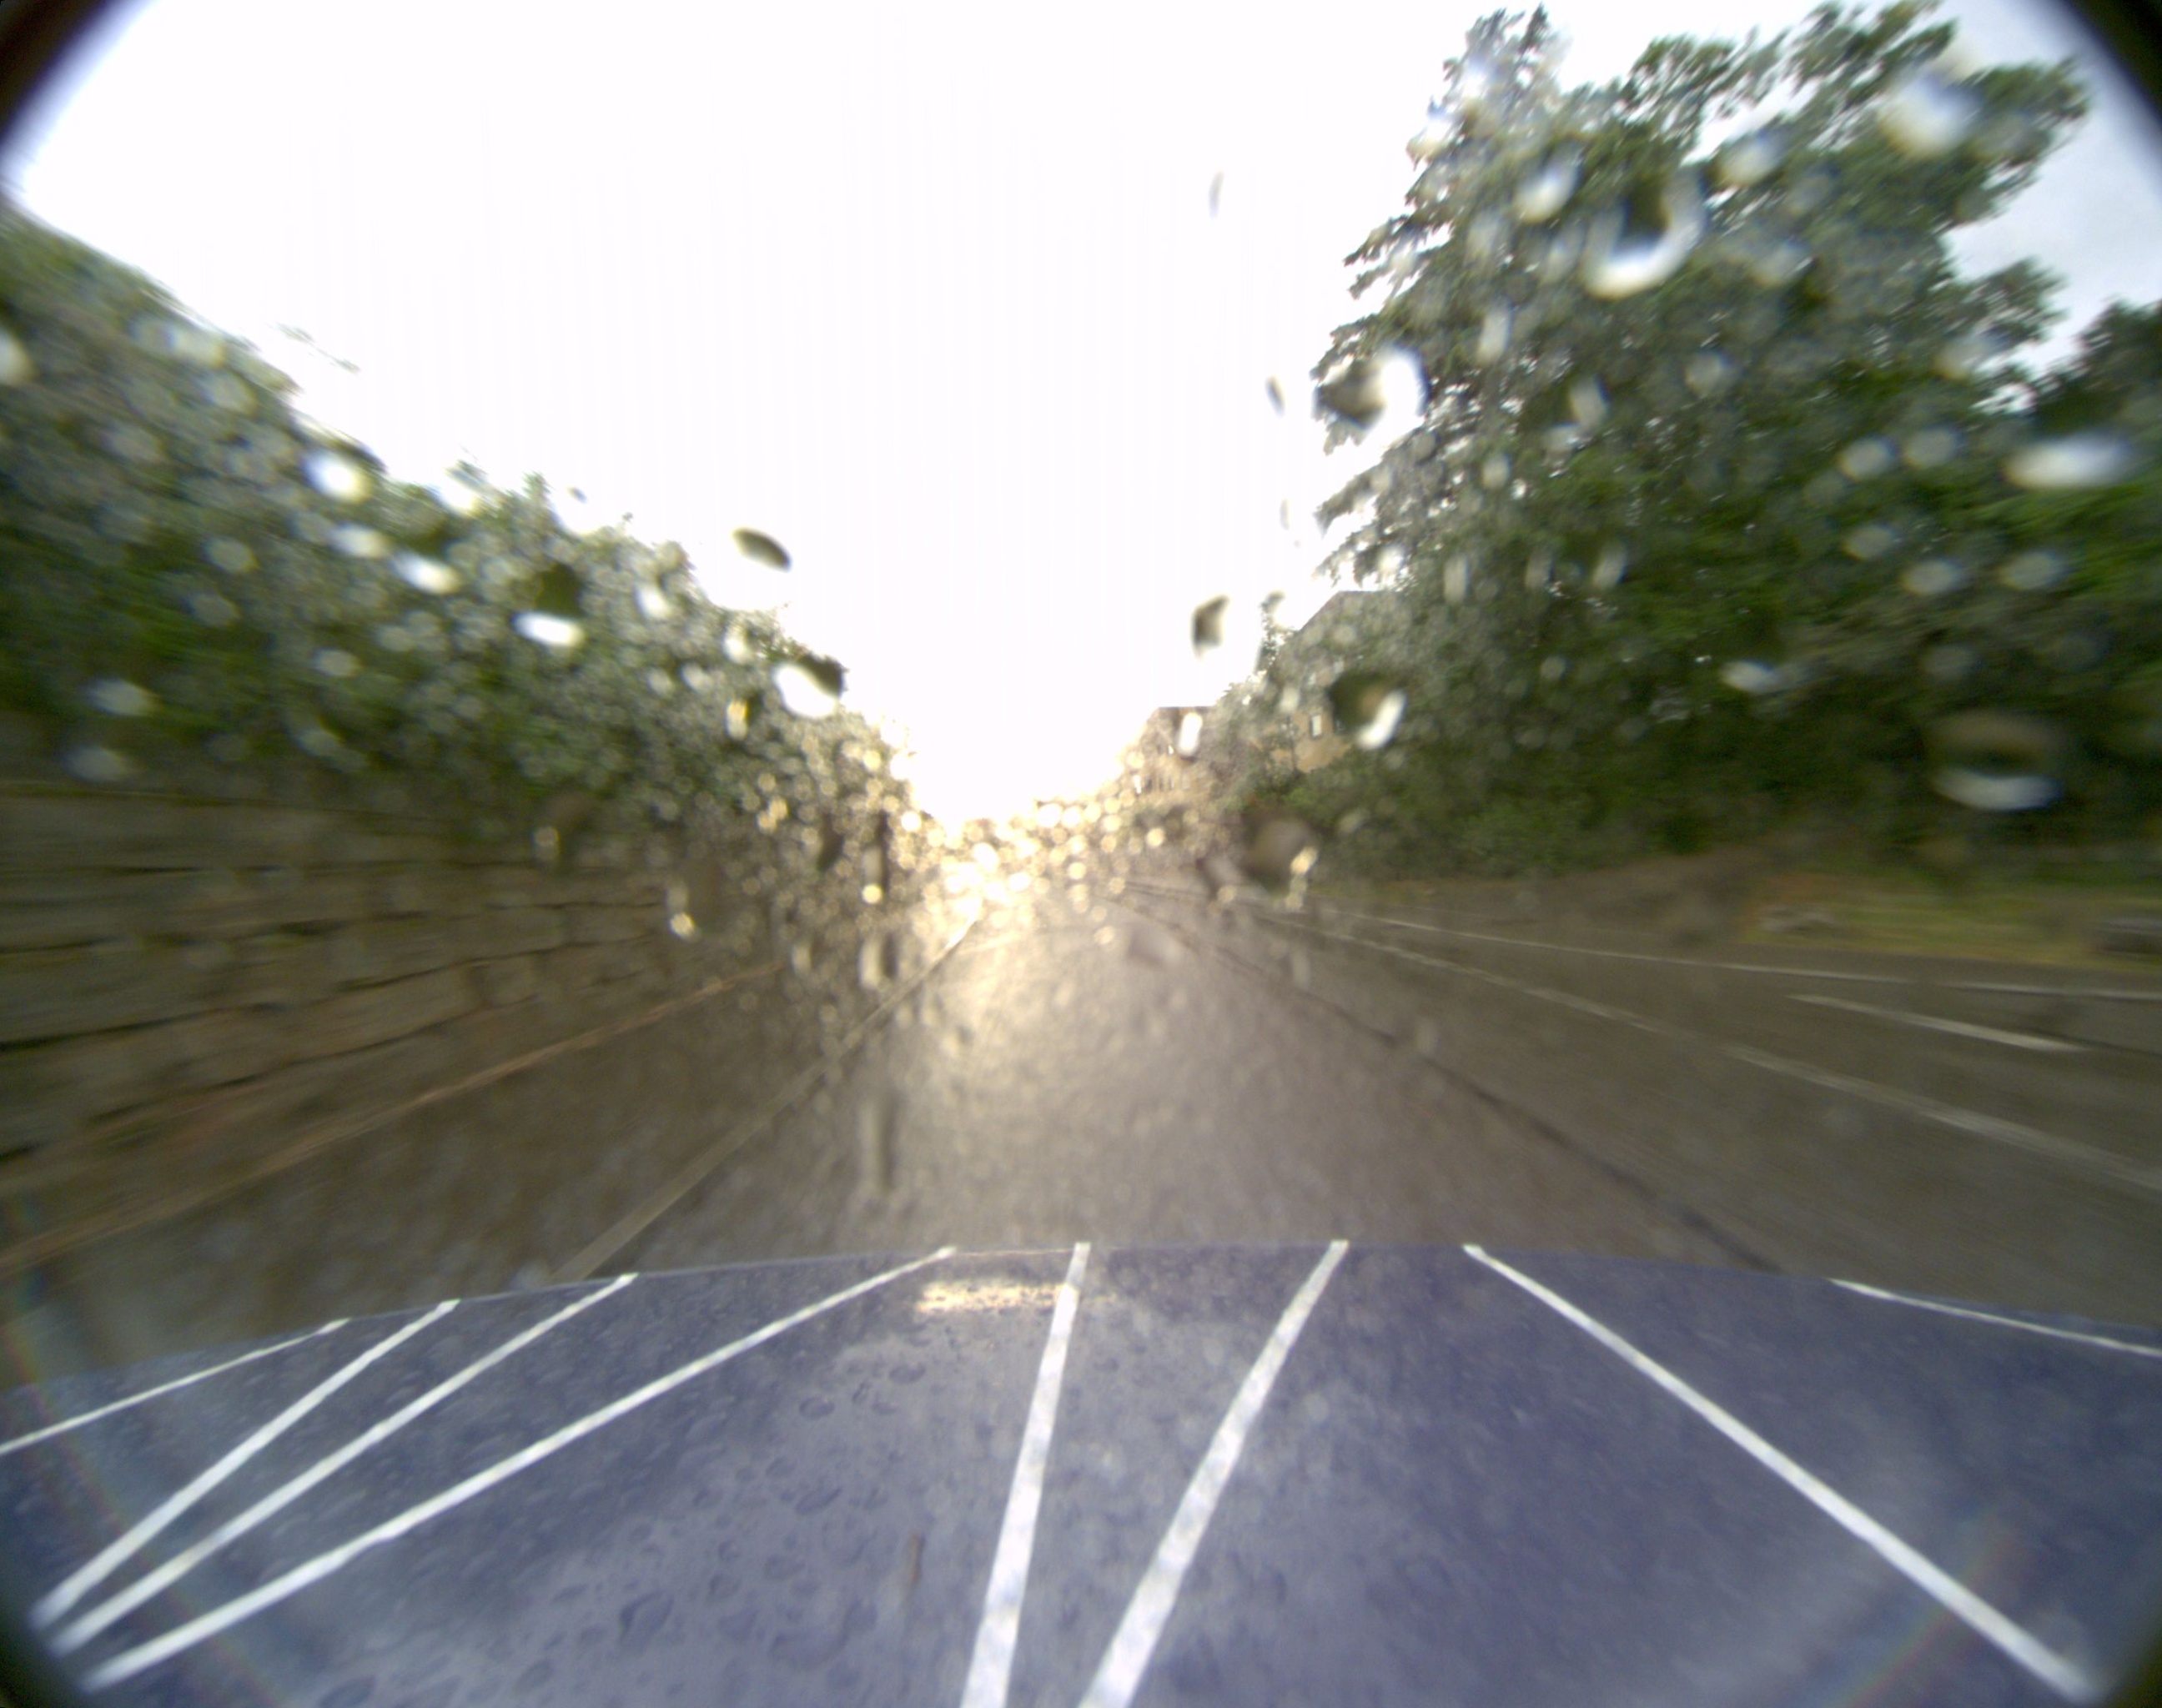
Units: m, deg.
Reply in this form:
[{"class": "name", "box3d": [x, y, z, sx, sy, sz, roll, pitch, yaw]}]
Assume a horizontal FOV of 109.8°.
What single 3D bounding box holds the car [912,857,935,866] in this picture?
[{"class": "car", "box3d": [-27.794, 1.278, 134.128, 4.000, 1.446, 1.998, -2, 1, -10]}]
